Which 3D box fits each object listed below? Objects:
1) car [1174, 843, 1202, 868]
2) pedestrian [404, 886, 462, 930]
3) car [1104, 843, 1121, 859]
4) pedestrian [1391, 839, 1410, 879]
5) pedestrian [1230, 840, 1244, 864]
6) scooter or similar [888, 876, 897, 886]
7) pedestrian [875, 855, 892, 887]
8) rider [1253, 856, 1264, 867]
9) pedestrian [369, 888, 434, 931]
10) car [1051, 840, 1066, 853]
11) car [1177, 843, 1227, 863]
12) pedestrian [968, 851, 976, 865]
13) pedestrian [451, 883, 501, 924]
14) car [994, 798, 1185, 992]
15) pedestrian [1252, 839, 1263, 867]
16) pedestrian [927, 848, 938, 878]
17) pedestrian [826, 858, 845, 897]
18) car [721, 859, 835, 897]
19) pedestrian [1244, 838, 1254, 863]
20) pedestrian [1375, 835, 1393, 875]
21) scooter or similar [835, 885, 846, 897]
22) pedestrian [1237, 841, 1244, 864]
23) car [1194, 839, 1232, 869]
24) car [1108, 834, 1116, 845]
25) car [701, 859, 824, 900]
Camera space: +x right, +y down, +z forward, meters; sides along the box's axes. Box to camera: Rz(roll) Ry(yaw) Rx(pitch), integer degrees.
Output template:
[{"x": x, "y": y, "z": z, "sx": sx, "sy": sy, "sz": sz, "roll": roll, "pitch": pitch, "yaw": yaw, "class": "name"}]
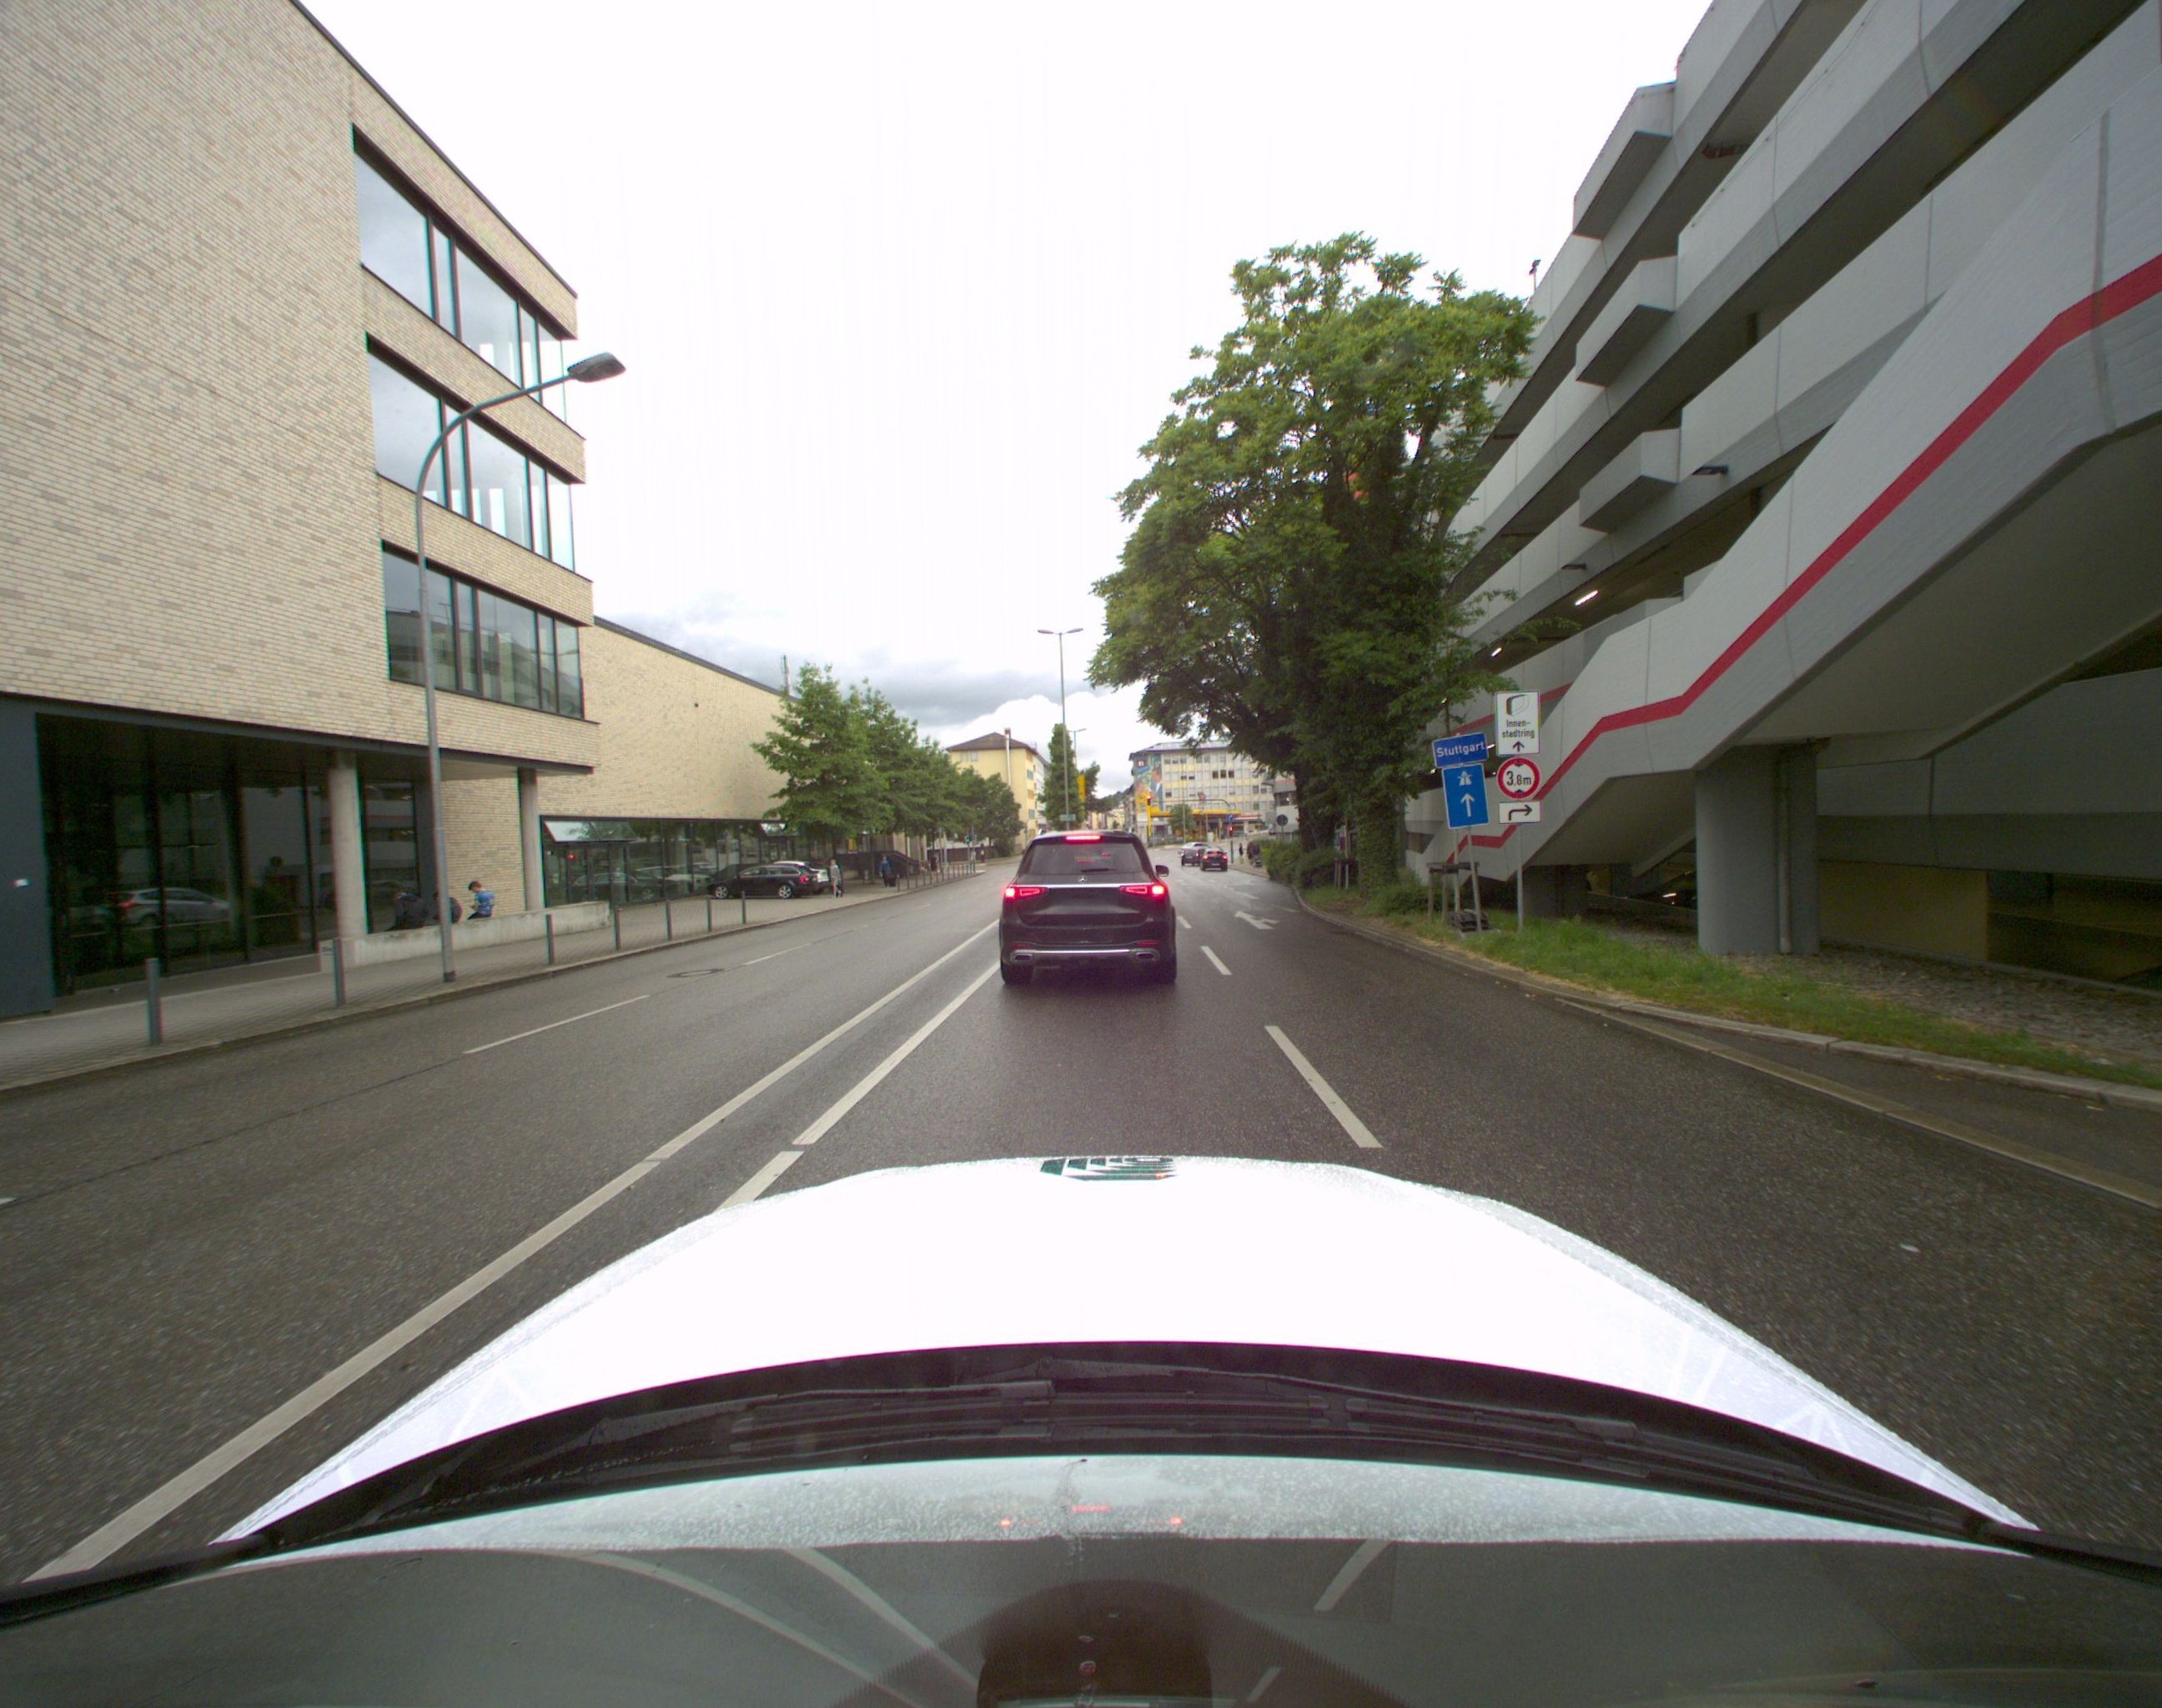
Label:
[{"x": 8.908, "y": 0.114, "z": 67.858, "sx": 1.985, "sy": 2.014, "sz": 4.003, "roll": 0, "pitch": -1, "yaw": 3, "class": "car"}, {"x": -13.268, "y": 1.096, "z": 16.685, "sx": 0.584, "sy": 0.845, "sz": 0.728, "roll": -1, "pitch": -1, "yaw": 2, "class": "pedestrian"}, {"x": 4.134, "y": -0.405, "z": 107.176, "sx": 1.987, "sy": 2.014, "sz": 3.999, "roll": 0, "pitch": -1, "yaw": 0, "class": "car"}, {"x": 12.230, "y": 0.192, "z": 31.183, "sx": 0.579, "sy": 1.501, "sz": 0.505, "roll": 0, "pitch": -1, "yaw": 7, "class": "pedestrian"}, {"x": 13.237, "y": -0.130, "z": 68.974, "sx": 1.022, "sy": 2.013, "sz": 0.999, "roll": 0, "pitch": 0, "yaw": 1, "class": "pedestrian"}, {"x": -10.489, "y": 1.518, "z": 45.352, "sx": 0.358, "sy": 0.536, "sz": 0.499, "roll": 0, "pitch": -2, "yaw": 2, "class": "scooter or similar"}, {"x": -10.816, "y": 0.922, "z": 44.603, "sx": 0.686, "sy": 1.726, "sz": 0.754, "roll": 0, "pitch": -3, "yaw": 1, "class": "pedestrian"}, {"x": 12.240, "y": 0.537, "z": 56.080, "sx": 0.689, "sy": 0.740, "sz": 0.634, "roll": 0, "pitch": -1, "yaw": 10, "class": "rider"}, {"x": -13.235, "y": 1.074, "z": 15.878, "sx": 0.595, "sy": 0.786, "sz": 0.760, "roll": 0, "pitch": -1, "yaw": 2, "class": "pedestrian"}, {"x": -3.436, "y": -1.073, "z": 124.358, "sx": 1.986, "sy": 1.875, "sz": 5.142, "roll": 0, "pitch": -1, "yaw": 1, "class": "car"}, {"x": 12.767, "y": -0.129, "z": 86.147, "sx": 4.797, "sy": 2.013, "sz": 1.996, "roll": -2, "pitch": 0, "yaw": -6, "class": "car"}, {"x": -11.729, "y": 0.428, "z": 87.677, "sx": 0.708, "sy": 1.462, "sz": 0.598, "roll": 0, "pitch": -1, "yaw": 1, "class": "pedestrian"}, {"x": -13.309, "y": 1.080, "z": 17.925, "sx": 0.679, "sy": 0.886, "sz": 0.524, "roll": 0, "pitch": -1, "yaw": -1, "class": "pedestrian"}, {"x": 0.135, "y": 0.444, "z": 10.517, "sx": 1.986, "sy": 2.014, "sz": 4.001, "roll": 0, "pitch": -1, "yaw": 1, "class": "car"}, {"x": 12.310, "y": -0.069, "z": 56.835, "sx": 0.658, "sy": 1.917, "sz": 0.730, "roll": 0, "pitch": -1, "yaw": 9, "class": "pedestrian"}, {"x": -9.996, "y": 0.597, "z": 54.795, "sx": 0.586, "sy": 2.014, "sz": 0.749, "roll": 0, "pitch": -1, "yaw": 0, "class": "pedestrian"}, {"x": -10.620, "y": 1.002, "z": 35.214, "sx": 0.673, "sy": 1.697, "sz": 0.479, "roll": 0, "pitch": 0, "yaw": 2, "class": "pedestrian"}, {"x": -13.709, "y": 1.074, "z": 37.088, "sx": 4.408, "sy": 1.573, "sz": 1.998, "roll": -1, "pitch": 2, "yaw": -4, "class": "car"}, {"x": 12.924, "y": -0.256, "z": 62.623, "sx": 0.617, "sy": 1.935, "sz": 0.610, "roll": 0, "pitch": -1, "yaw": 2, "class": "pedestrian"}, {"x": 11.663, "y": 0.045, "z": 31.315, "sx": 0.548, "sy": 1.532, "sz": 0.489, "roll": 0, "pitch": -1, "yaw": 8, "class": "pedestrian"}, {"x": -10.507, "y": 1.620, "z": 35.591, "sx": 0.279, "sy": 0.501, "sz": 0.616, "roll": 0, "pitch": -1, "yaw": 2, "class": "scooter or similar"}, {"x": 13.356, "y": -0.123, "z": 68.155, "sx": 0.517, "sy": 1.911, "sz": 0.556, "roll": 0, "pitch": -1, "yaw": 2, "class": "pedestrian"}, {"x": 9.145, "y": -0.017, "z": 56.648, "sx": 1.987, "sy": 2.013, "sz": 4.001, "roll": -1, "pitch": 0, "yaw": 1, "class": "car"}, {"x": 8.062, "y": -3.828, "z": 213.779, "sx": 1.986, "sy": 2.011, "sz": 4.006, "roll": 0, "pitch": 11, "yaw": 1, "class": "car"}, {"x": -13.604, "y": 1.054, "z": 34.980, "sx": 4.459, "sy": 1.587, "sz": 1.997, "roll": -1, "pitch": 0, "yaw": -4, "class": "car"}]
